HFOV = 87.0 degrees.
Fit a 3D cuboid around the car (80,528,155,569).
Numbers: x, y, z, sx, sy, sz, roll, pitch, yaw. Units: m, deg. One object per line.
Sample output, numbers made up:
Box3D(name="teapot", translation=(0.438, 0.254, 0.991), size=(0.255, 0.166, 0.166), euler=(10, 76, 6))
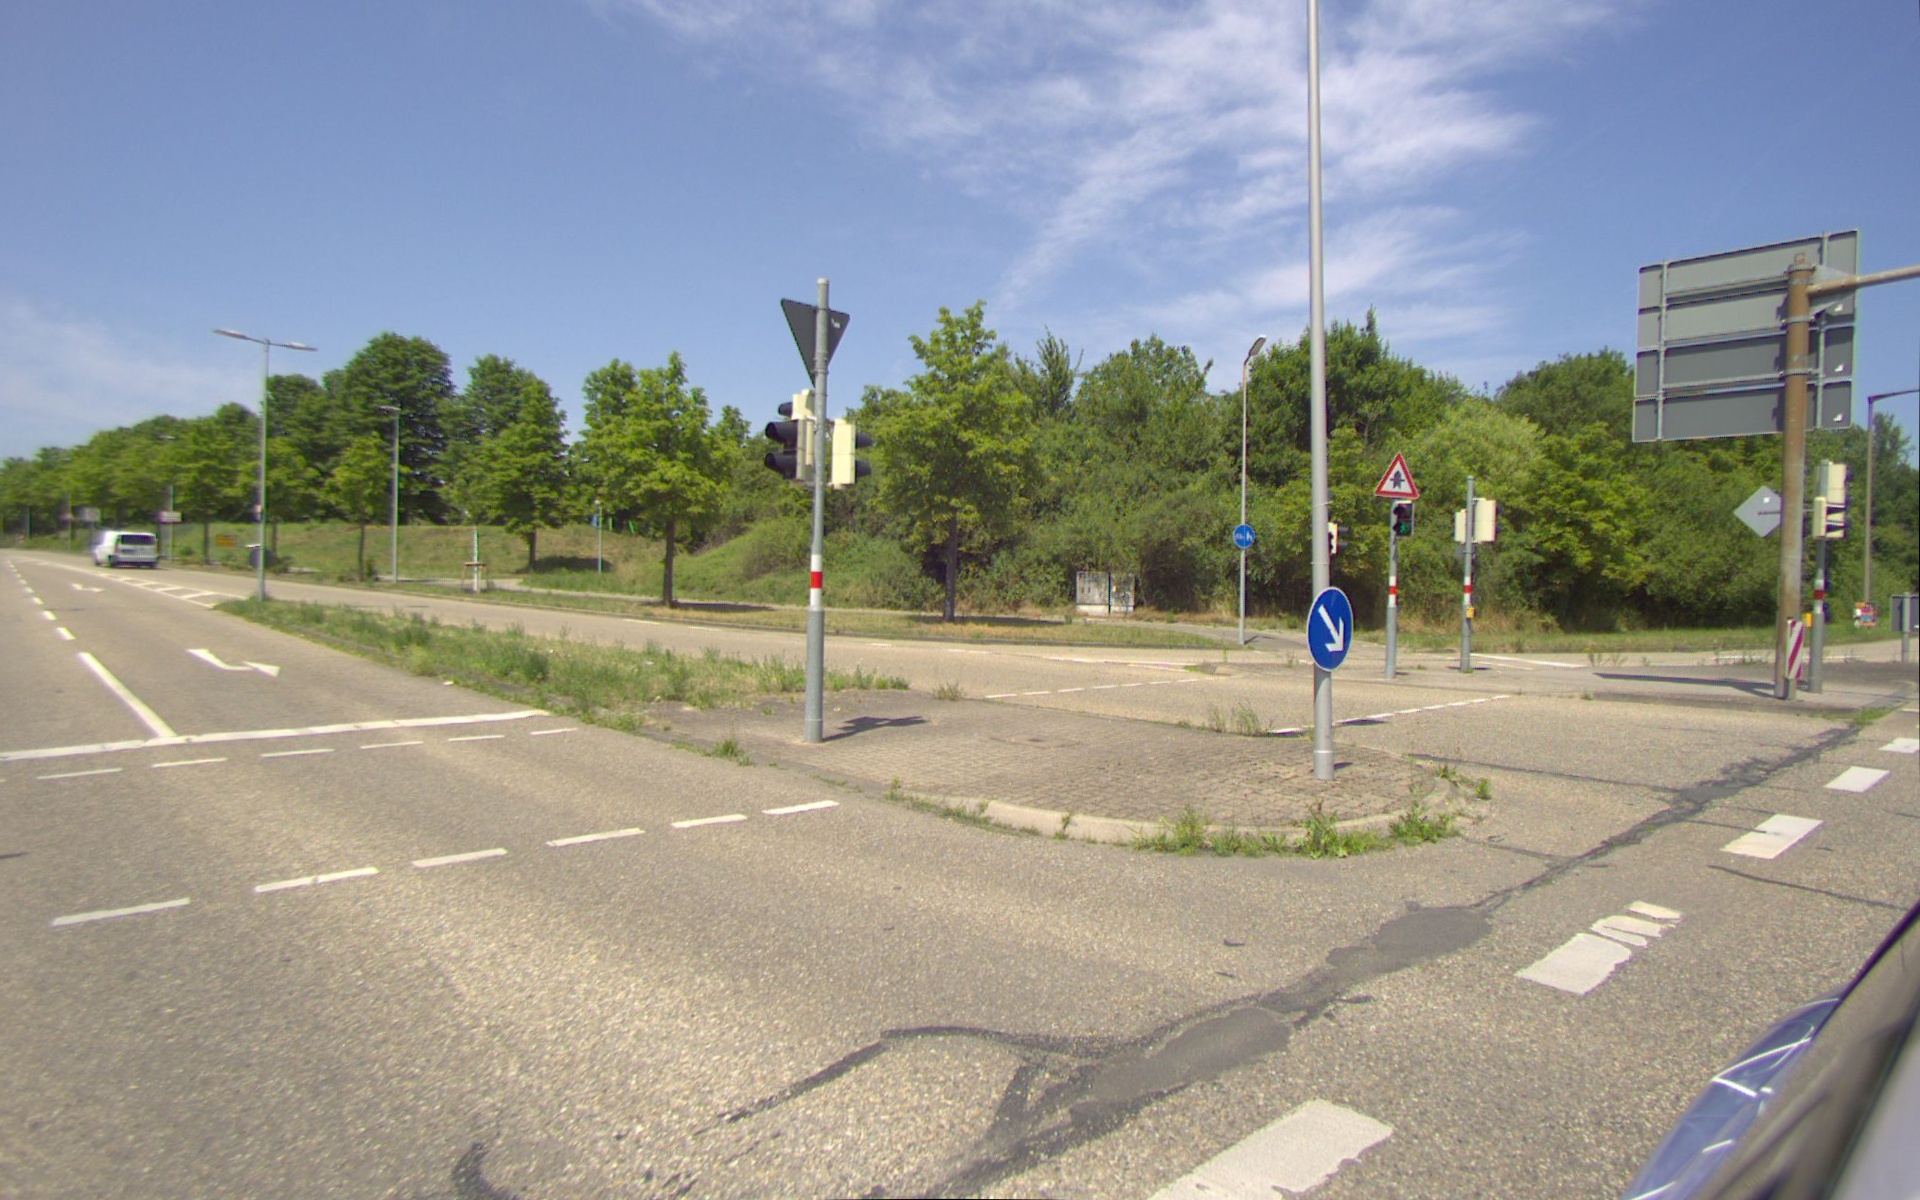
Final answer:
Box3D(name="car", translation=(-42.752, -2.626, 51.329), size=(4.881, 1.840, 1.842), euler=(4, 2, 37))
